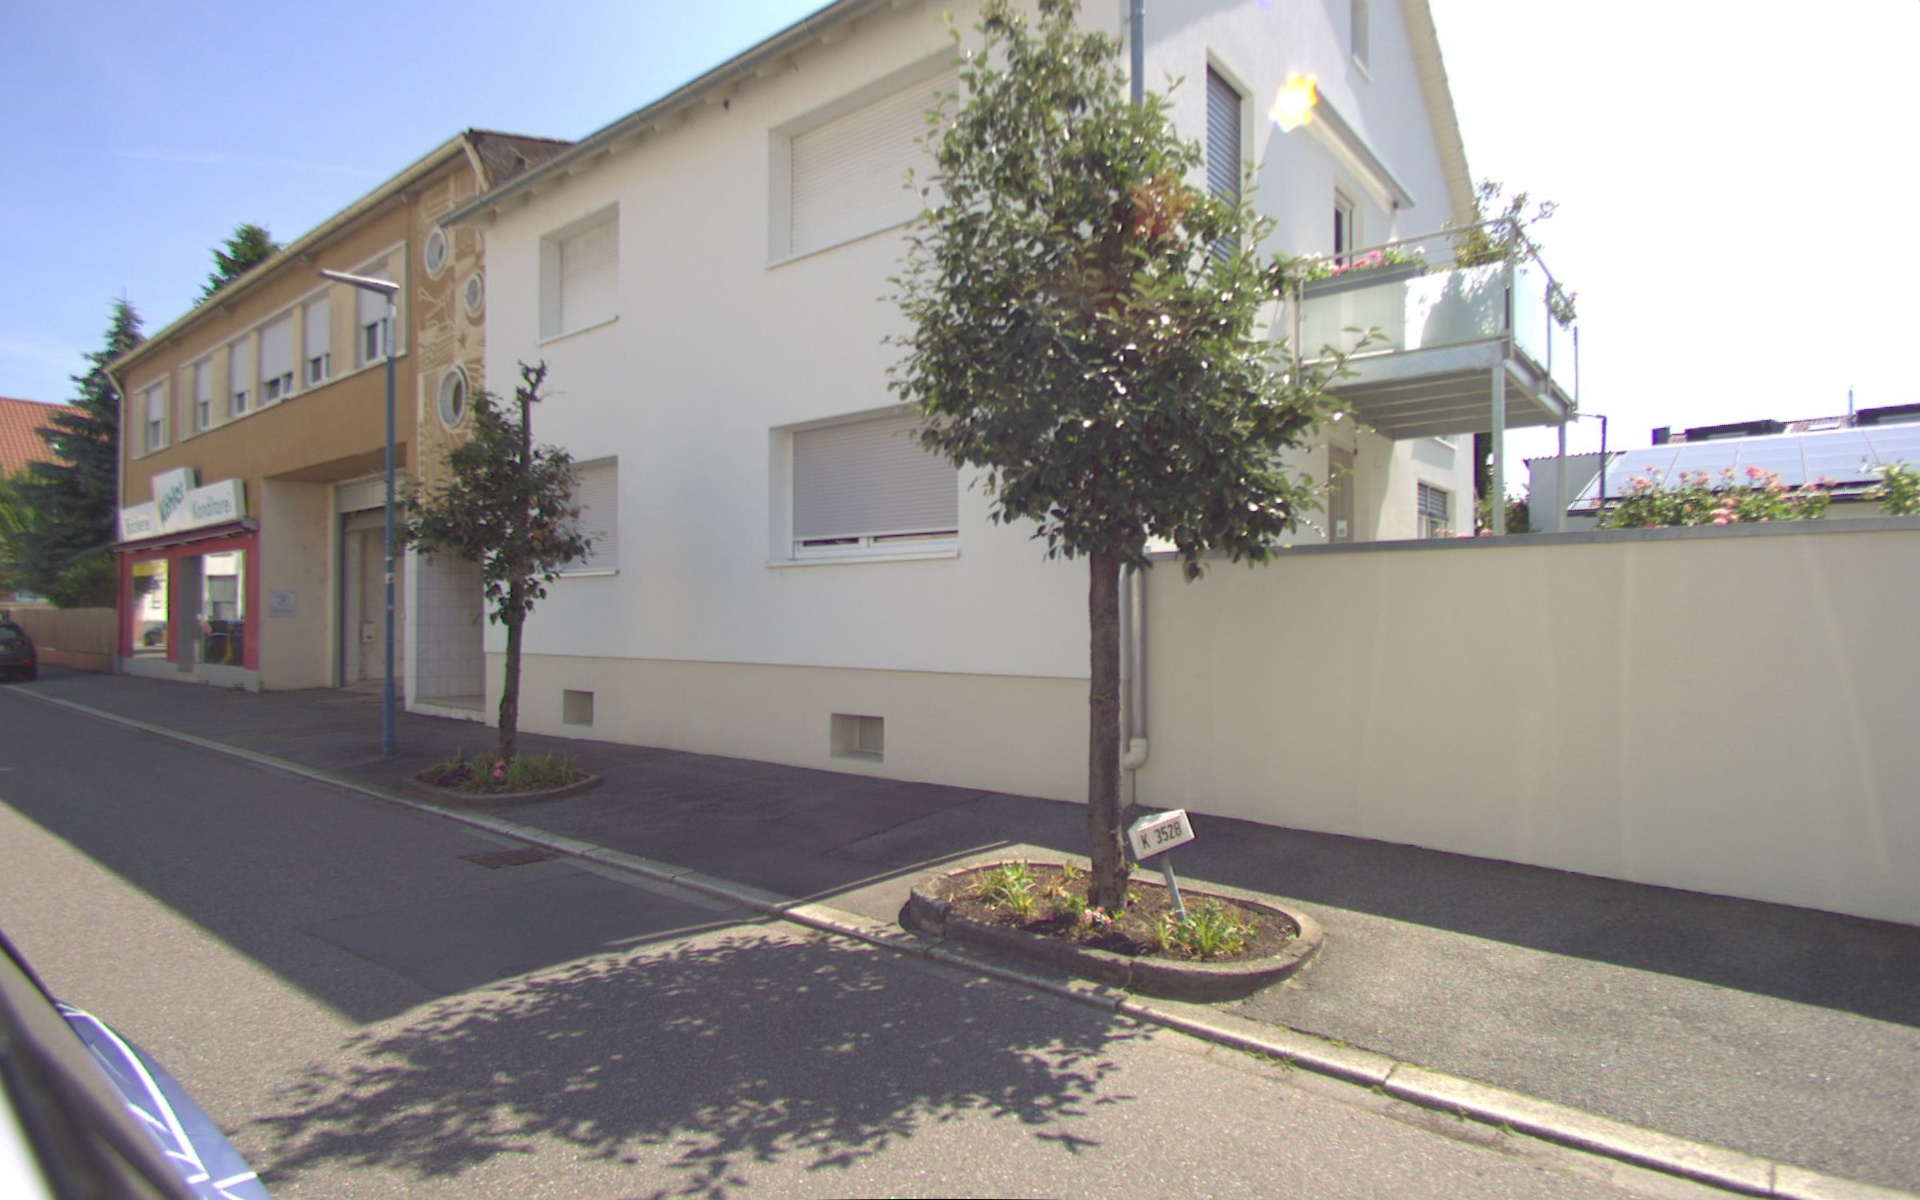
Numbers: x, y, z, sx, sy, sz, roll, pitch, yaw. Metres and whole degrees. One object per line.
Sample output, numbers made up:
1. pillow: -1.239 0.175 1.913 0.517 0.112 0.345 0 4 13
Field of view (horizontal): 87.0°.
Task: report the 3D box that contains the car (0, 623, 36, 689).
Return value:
1. car: -23.470 1.298 24.060 4.434 1.471 1.749 -1 -1 42
